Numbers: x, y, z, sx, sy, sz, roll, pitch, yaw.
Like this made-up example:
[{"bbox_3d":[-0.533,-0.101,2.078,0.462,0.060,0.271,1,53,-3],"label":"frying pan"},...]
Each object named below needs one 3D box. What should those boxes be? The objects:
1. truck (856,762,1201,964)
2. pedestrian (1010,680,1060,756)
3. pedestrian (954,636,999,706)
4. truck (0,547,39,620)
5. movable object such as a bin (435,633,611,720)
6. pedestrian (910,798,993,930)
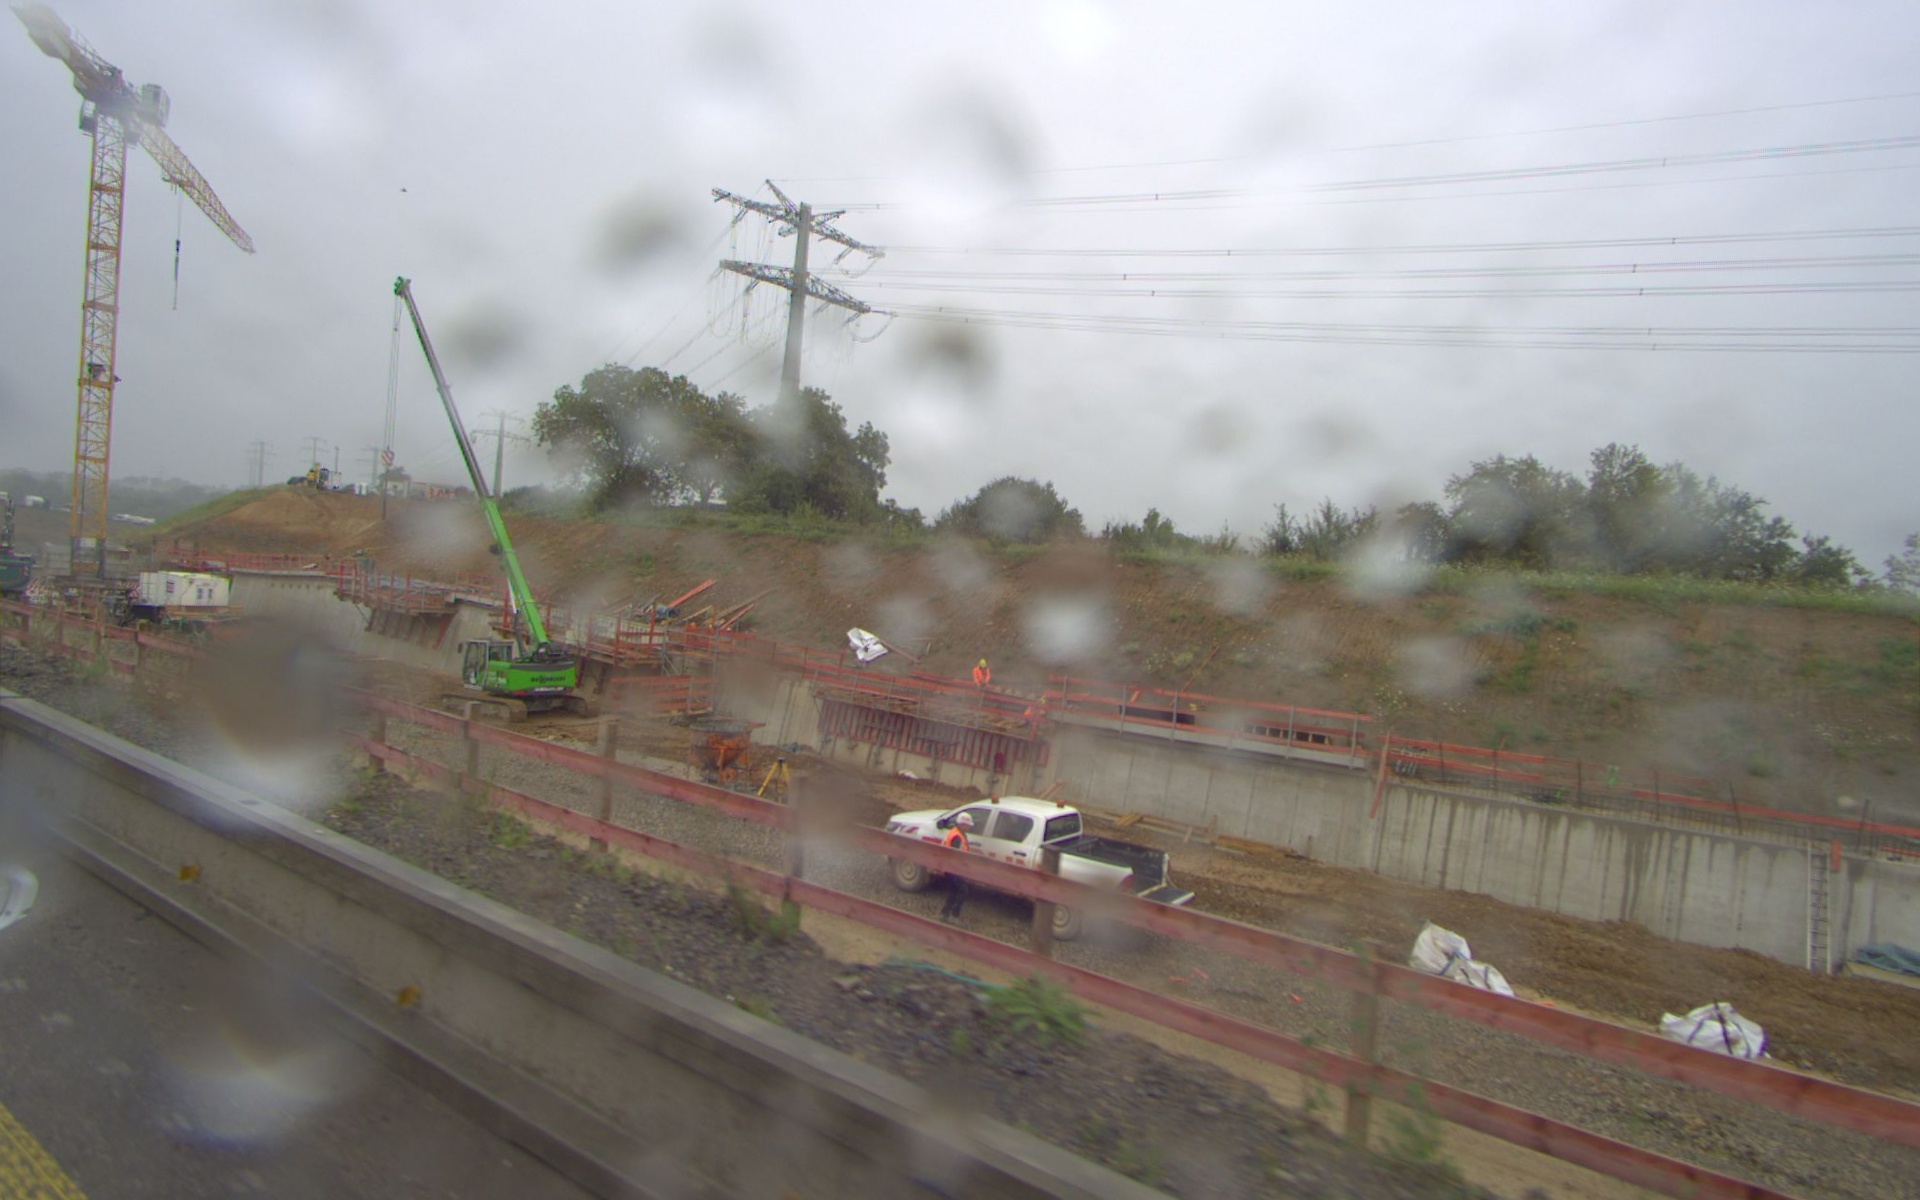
[{"bbox_3d":[1.021,4.289,17.308,5.695,1.894,1.762,6,0,35],"label":"truck"},{"bbox_3d":[2.422,3.806,32.377,0.991,2.253,0.917,5,-6,38],"label":"pedestrian"},{"bbox_3d":[0.597,2.522,35.732,0.989,2.267,0.919,6,-6,31],"label":"pedestrian"},{"bbox_3d":[-54.381,-1.162,56.075,8.813,3.544,2.700,6,-2,38],"label":"truck"},{"bbox_3d":[-15.941,2.780,36.791,4.781,2.835,3.796,0,-4,33],"label":"movable object such as a bin"},{"bbox_3d":[-0.137,4.212,16.218,0.797,1.822,0.934,6,1,33],"label":"pedestrian"}]
